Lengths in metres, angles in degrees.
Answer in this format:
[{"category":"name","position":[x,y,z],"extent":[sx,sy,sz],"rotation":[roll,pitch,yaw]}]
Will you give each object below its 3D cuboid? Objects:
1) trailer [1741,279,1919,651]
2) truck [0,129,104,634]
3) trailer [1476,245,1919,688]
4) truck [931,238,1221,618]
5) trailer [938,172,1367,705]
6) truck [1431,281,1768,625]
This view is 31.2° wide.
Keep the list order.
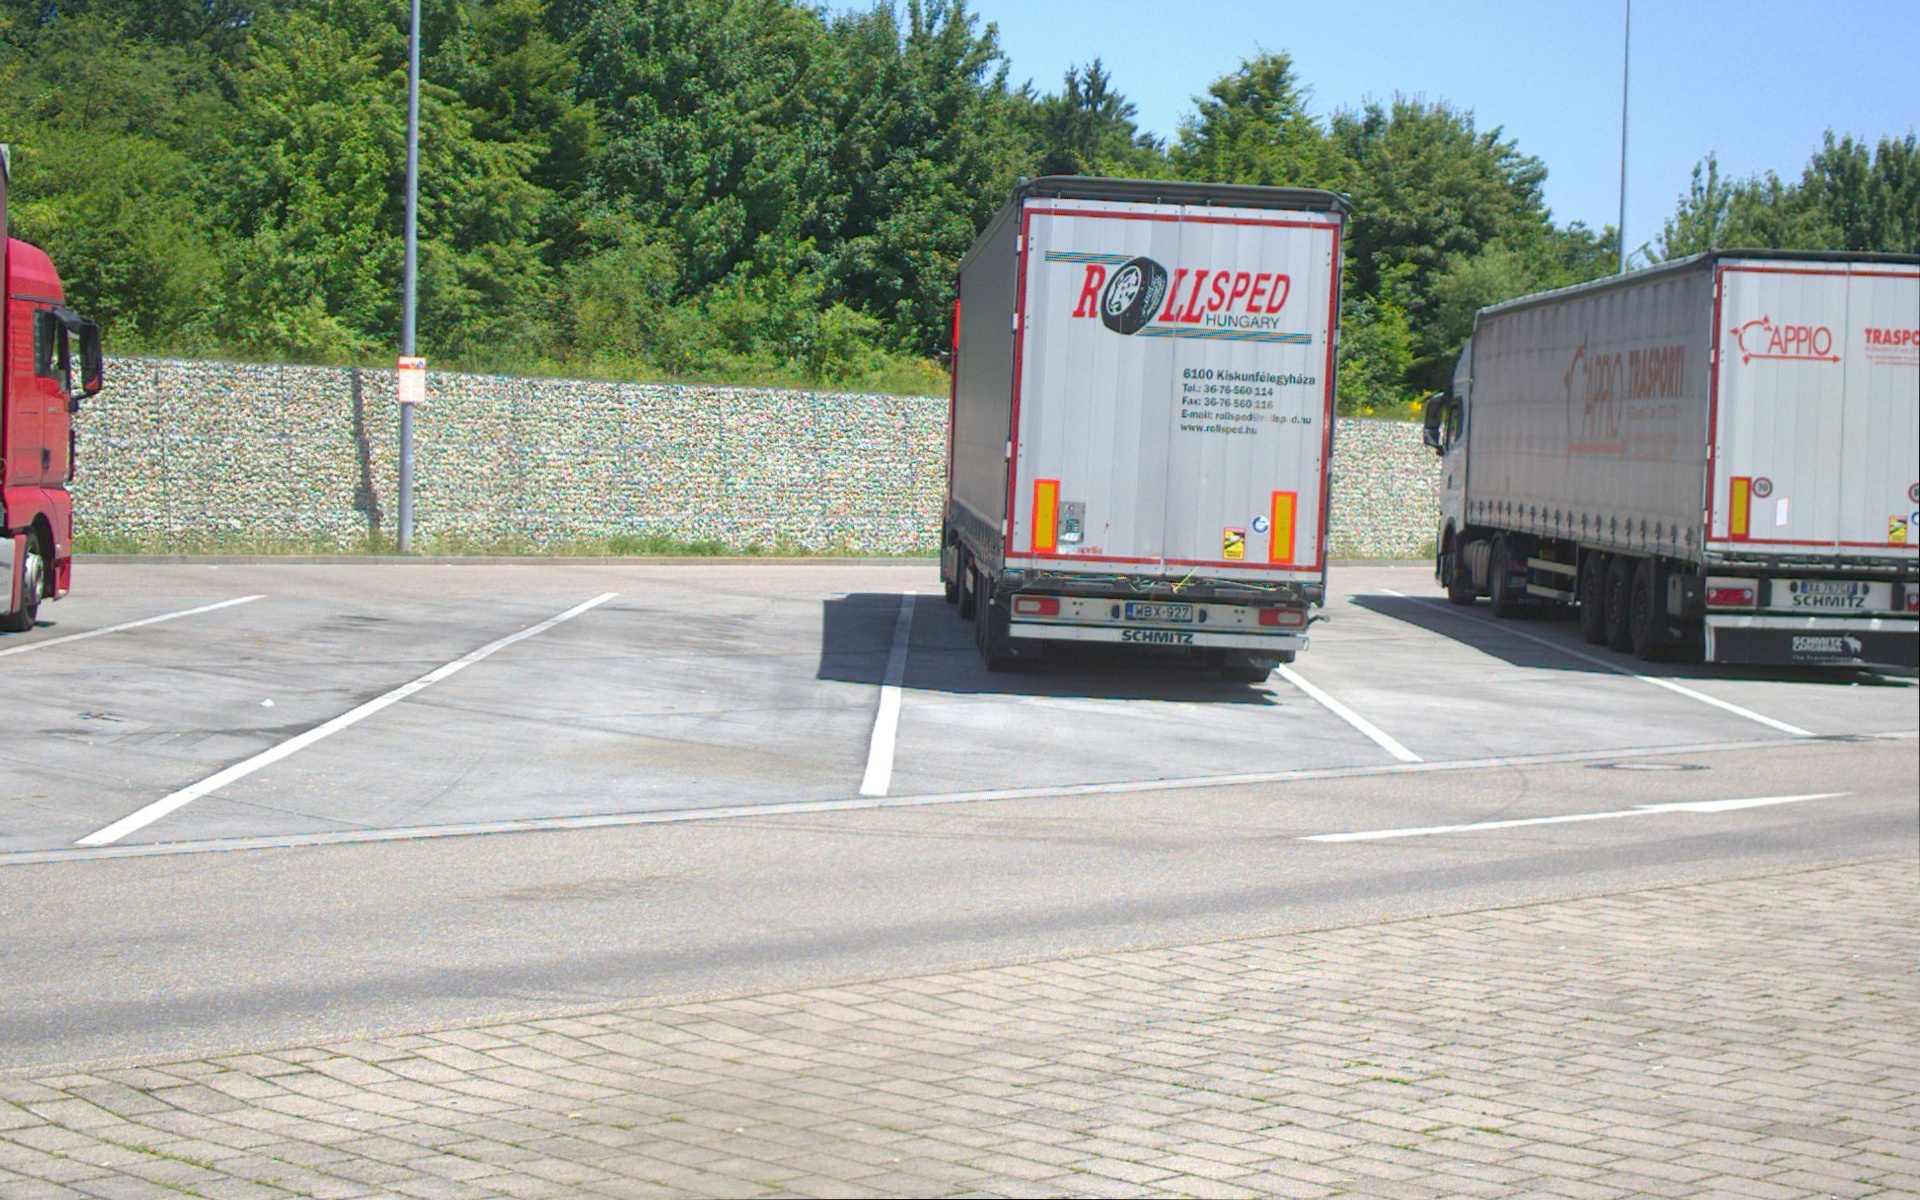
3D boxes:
[{"category":"trailer","position":[11.833,-1.524,39.025],"extent":[2.866,4.023,12.439],"rotation":[2,3,0]},{"category":"truck","position":[-9.155,-1.812,27.986],"extent":[2.696,4.099,6.240],"rotation":[2,3,0]},{"category":"trailer","position":[8.178,-1.564,37.961],"extent":[2.866,4.023,12.439],"rotation":[2,3,0]},{"category":"truck","position":[1.222,-2.053,40.703],"extent":[2.866,4.023,7.028],"rotation":[2,3,-2]},{"category":"trailer","position":[1.433,-1.634,33.625],"extent":[2.866,4.023,14.243],"rotation":[2,3,-2]},{"category":"truck","position":[8.119,-1.947,44.588],"extent":[2.866,4.023,6.957],"rotation":[2,3,0]}]
